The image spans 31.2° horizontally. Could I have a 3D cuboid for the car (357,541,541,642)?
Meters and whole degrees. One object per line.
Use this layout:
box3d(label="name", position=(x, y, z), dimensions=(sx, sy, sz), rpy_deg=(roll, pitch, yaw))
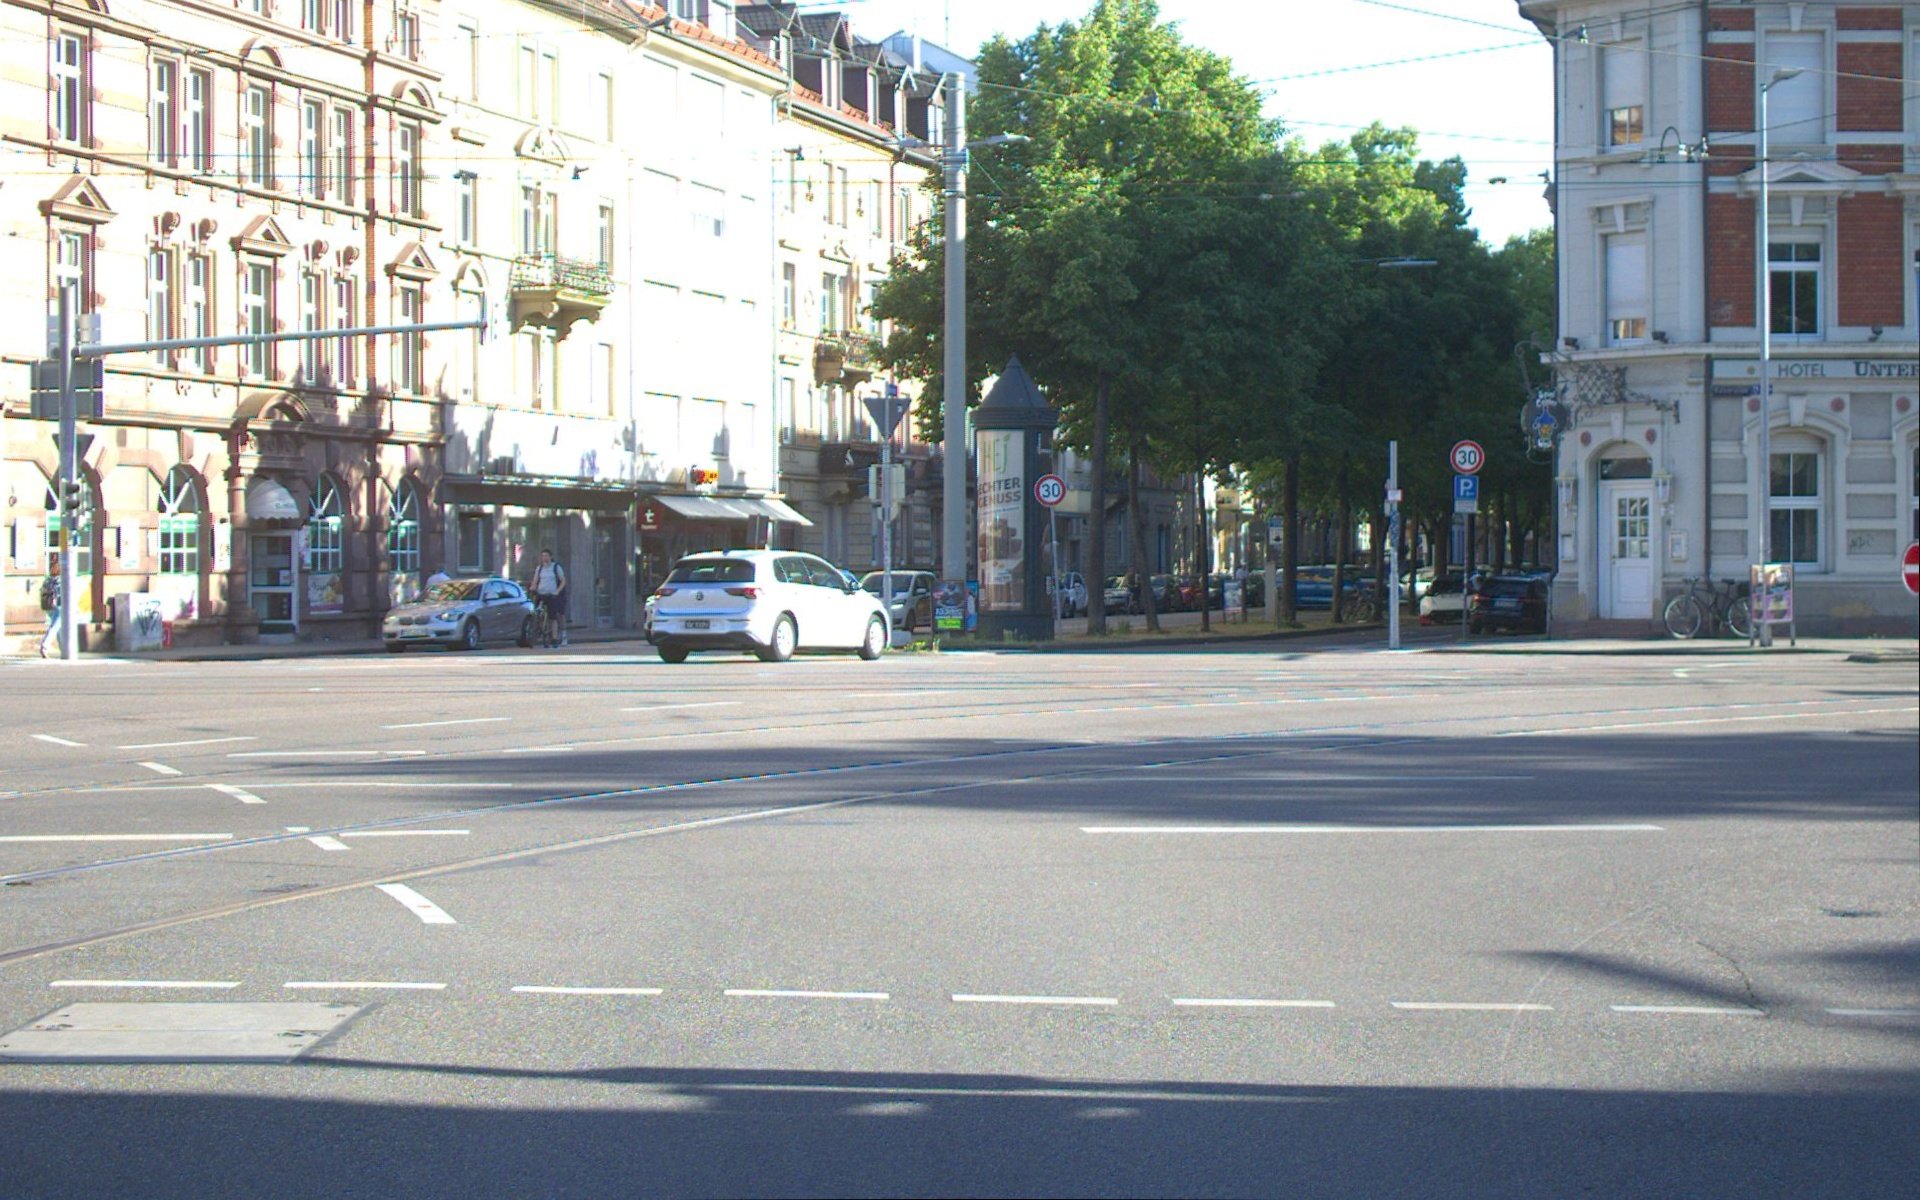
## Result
box3d(label="car", position=(-9.937, -0.173, 67.154), dimensions=(1.995, 1.897, 3.997), rpy_deg=(1, 1, 17))

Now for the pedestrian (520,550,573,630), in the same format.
box3d(label="pedestrian", position=(-7.835, -0.191, 65.217), dimensions=(0.821, 1.507, 0.598), rpy_deg=(1, 0, 15))

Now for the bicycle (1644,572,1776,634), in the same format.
box3d(label="bicycle", position=(12.447, 0.048, 57.102), dimensions=(2.049, 0.994, 0.630), rpy_deg=(1, 0, 3))

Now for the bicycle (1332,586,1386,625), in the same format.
box3d(label="bicycle", position=(11.498, 0.162, 99.081), dimensions=(0.626, 1.081, 1.703), rpy_deg=(1, 1, -31))

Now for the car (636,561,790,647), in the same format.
box3d(label="car", position=(-4.813, 0.058, 67.550), dimensions=(1.994, 1.612, 3.998), rpy_deg=(1, 1, 11))

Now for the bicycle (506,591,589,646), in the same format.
box3d(label="bicycle", position=(-7.821, 0.335, 65.297), dimensions=(0.763, 1.004, 2.395), rpy_deg=(1, 1, 13))

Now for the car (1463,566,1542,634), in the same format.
box3d(label="car", position=(13.061, -0.016, 82.603), dimensions=(1.692, 1.559, 3.839), rpy_deg=(1, 1, 11))

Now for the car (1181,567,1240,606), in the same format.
box3d(label="car", position=(9.931, -0.547, 136.320), dimensions=(1.560, 1.508, 3.653), rpy_deg=(1, 1, 17))

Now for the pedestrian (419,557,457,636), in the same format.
box3d(label="pedestrian", position=(-10.880, -0.070, 71.650), dimensions=(0.544, 1.626, 0.706), rpy_deg=(1, 0, 13))

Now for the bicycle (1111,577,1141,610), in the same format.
box3d(label="bicycle", position=(5.631, -0.221, 116.441), dimensions=(0.626, 1.081, 1.701), rpy_deg=(1, 1, 16))

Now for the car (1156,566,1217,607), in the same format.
box3d(label="car", position=(8.706, -0.520, 131.902), dimensions=(1.560, 1.508, 3.653), rpy_deg=(1, 1, 17))

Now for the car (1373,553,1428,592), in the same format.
box3d(label="car", position=(17.272, -1.081, 134.718), dimensions=(1.560, 1.508, 3.653), rpy_deg=(1, 1, 17))

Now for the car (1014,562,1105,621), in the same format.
box3d(label="car", position=(3.273, -0.287, 112.713), dimensions=(1.995, 1.897, 3.997), rpy_deg=(1, 1, 17))

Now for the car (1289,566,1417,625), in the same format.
box3d(label="car", position=(13.154, -0.173, 114.984), dimensions=(3.990, 1.897, 1.998), rpy_deg=(1, 1, 16))

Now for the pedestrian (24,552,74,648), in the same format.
box3d(label="pedestrian", position=(-15.515, -0.005, 58.557), dimensions=(0.544, 1.626, 0.706), rpy_deg=(1, 0, 13))

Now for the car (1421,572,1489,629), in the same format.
box3d(label="car", position=(14.147, 0.003, 98.147), dimensions=(1.692, 1.559, 3.839), rpy_deg=(1, 1, 11))

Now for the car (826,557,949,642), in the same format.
box3d(label="car", position=(-1.653, -0.021, 79.697), dimensions=(1.994, 1.897, 3.998), rpy_deg=(1, 1, 11))

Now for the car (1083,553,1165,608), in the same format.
box3d(label="car", position=(5.851, -0.695, 122.461), dimensions=(1.995, 1.897, 3.997), rpy_deg=(1, 1, 17))

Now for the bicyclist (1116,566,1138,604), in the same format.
box3d(label="bicyclist", position=(5.661, -0.510, 116.536), dimensions=(0.626, 1.261, 0.558), rpy_deg=(1, 0, 16))

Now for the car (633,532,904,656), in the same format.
box3d(label="car", position=(-2.442, -0.084, 44.824), dimensions=(1.774, 1.525, 3.994), rpy_deg=(1, 1, 26))
